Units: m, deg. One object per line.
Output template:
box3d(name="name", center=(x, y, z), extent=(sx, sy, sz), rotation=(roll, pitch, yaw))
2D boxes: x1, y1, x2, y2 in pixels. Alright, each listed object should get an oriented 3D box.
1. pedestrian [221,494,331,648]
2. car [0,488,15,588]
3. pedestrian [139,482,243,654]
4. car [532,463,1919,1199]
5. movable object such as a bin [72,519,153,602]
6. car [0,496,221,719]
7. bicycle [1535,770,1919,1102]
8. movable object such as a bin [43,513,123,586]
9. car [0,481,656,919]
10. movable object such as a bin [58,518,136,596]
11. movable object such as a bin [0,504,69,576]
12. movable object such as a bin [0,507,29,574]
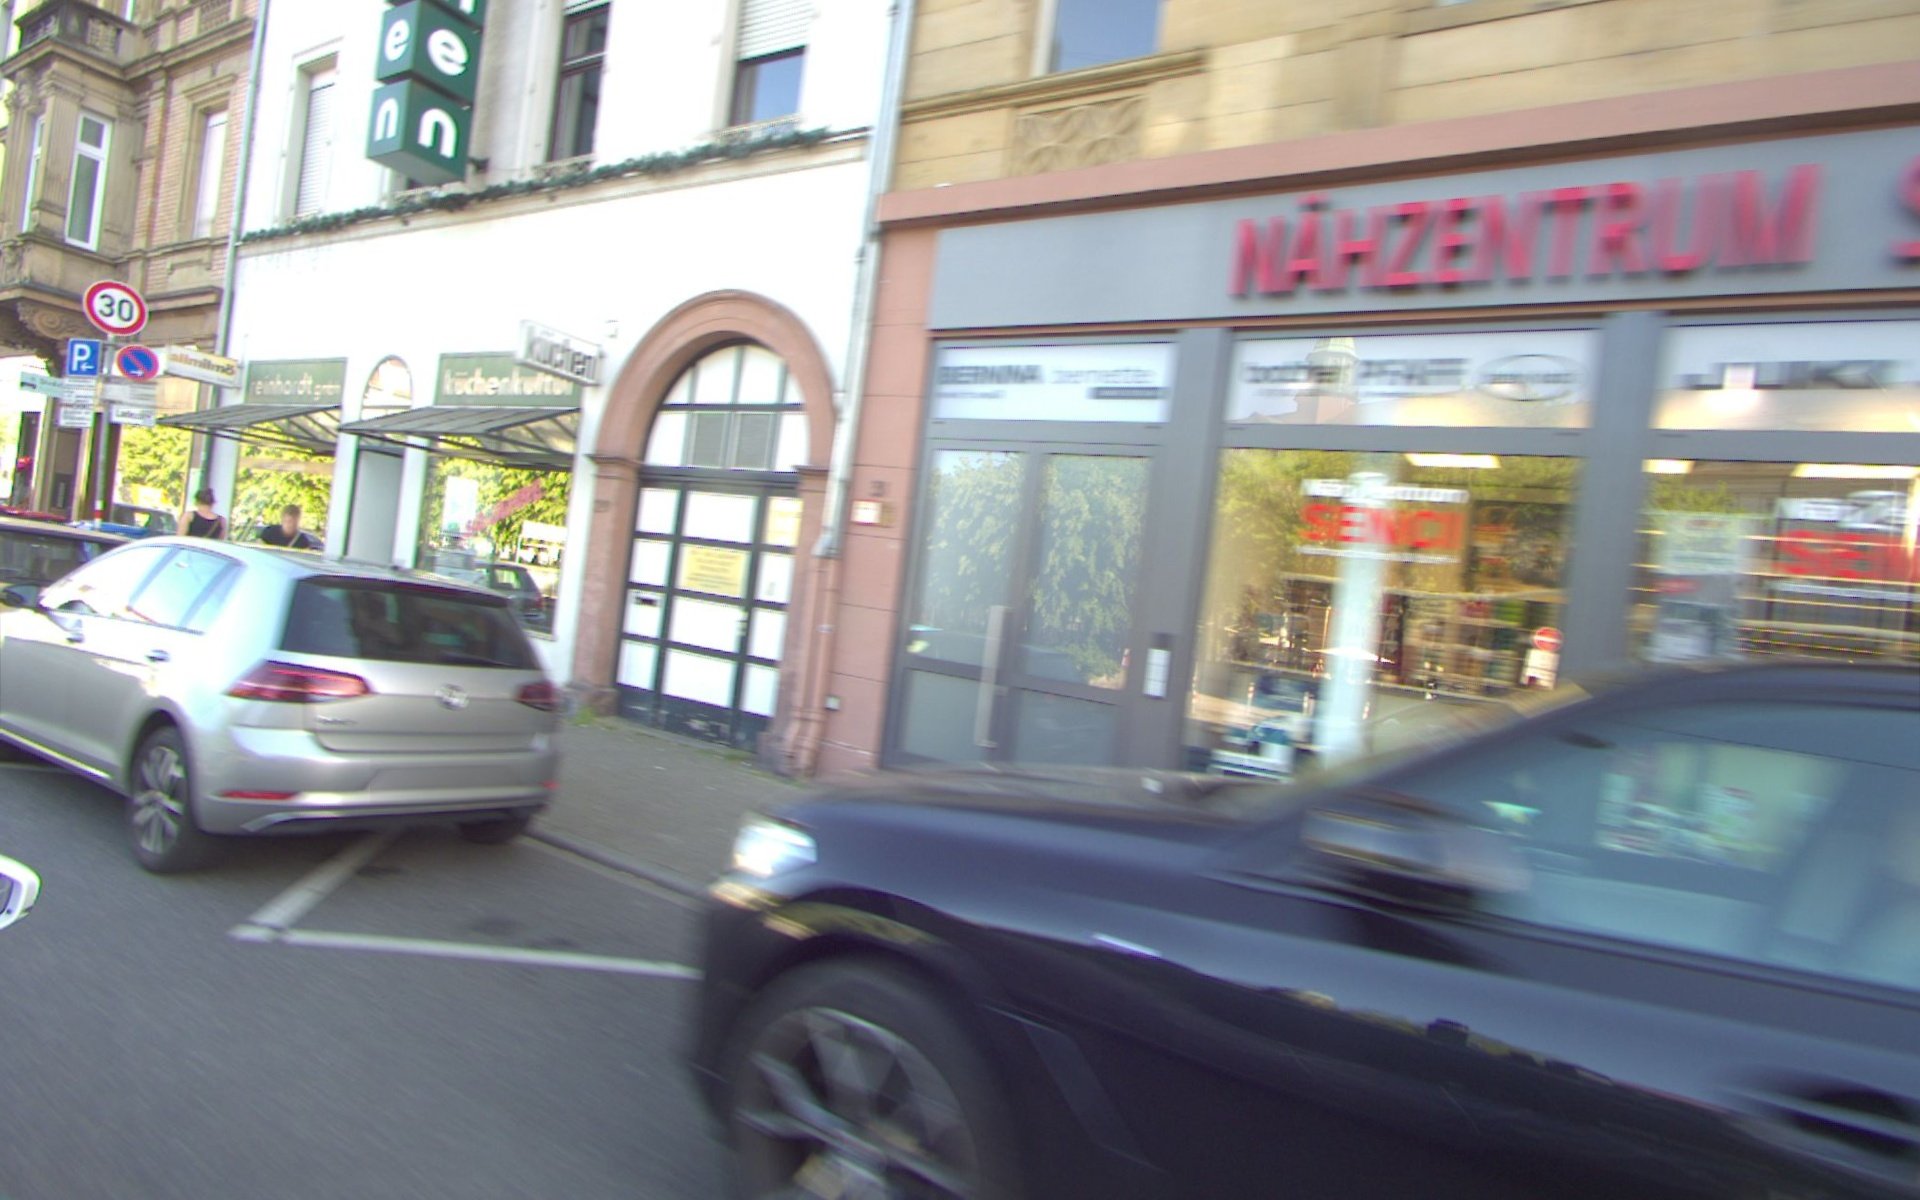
box3d(name="pedestrian", center=(-7.952, -0.324, 11.709), extent=(0.580, 1.696, 0.801), rotation=(7, 2, 34))
box3d(name="car", center=(-12.522, -0.739, 11.140), extent=(4.158, 1.564, 1.843), rotation=(7, -2, 31))
box3d(name="pedestrian", center=(-8.446, -0.344, 11.054), extent=(0.510, 1.788, 0.620), rotation=(7, 0, 35))
box3d(name="car", center=(1.589, 0.899, 1.995), extent=(4.744, 1.745, 1.977), rotation=(7, -2, 32))
box3d(name="movable object such as a bin", center=(-12.382, -0.576, 14.701), extent=(0.616, 1.110, 0.680), rotation=(7, 2, 32))
box3d(name="car", center=(-7.813, -0.103, 8.098), extent=(3.767, 1.466, 1.612), rotation=(7, -2, 32))
box3d(name="bicycle", center=(3.794, 1.523, 4.599), extent=(1.909, 1.099, 0.358), rotation=(7, 2, 32))
box3d(name="movable object such as a bin", center=(-13.465, -0.773, 15.452), extent=(0.583, 1.013, 0.724), rotation=(7, 1, 32))
box3d(name="car", center=(-3.914, 0.322, 5.644), extent=(4.115, 1.504, 1.843), rotation=(7, -2, 32))
box3d(name="movable object such as a bin", center=(-12.976, -0.637, 15.124), extent=(0.616, 1.057, 0.680), rotation=(7, 1, 32))
box3d(name="movable object such as a bin", center=(-15.127, -0.979, 16.423), extent=(0.621, 1.065, 0.645), rotation=(7, 2, 31))
box3d(name="movable object such as a bin", center=(-16.635, -1.049, 17.333), extent=(0.806, 1.090, 0.644), rotation=(7, 2, 33))
